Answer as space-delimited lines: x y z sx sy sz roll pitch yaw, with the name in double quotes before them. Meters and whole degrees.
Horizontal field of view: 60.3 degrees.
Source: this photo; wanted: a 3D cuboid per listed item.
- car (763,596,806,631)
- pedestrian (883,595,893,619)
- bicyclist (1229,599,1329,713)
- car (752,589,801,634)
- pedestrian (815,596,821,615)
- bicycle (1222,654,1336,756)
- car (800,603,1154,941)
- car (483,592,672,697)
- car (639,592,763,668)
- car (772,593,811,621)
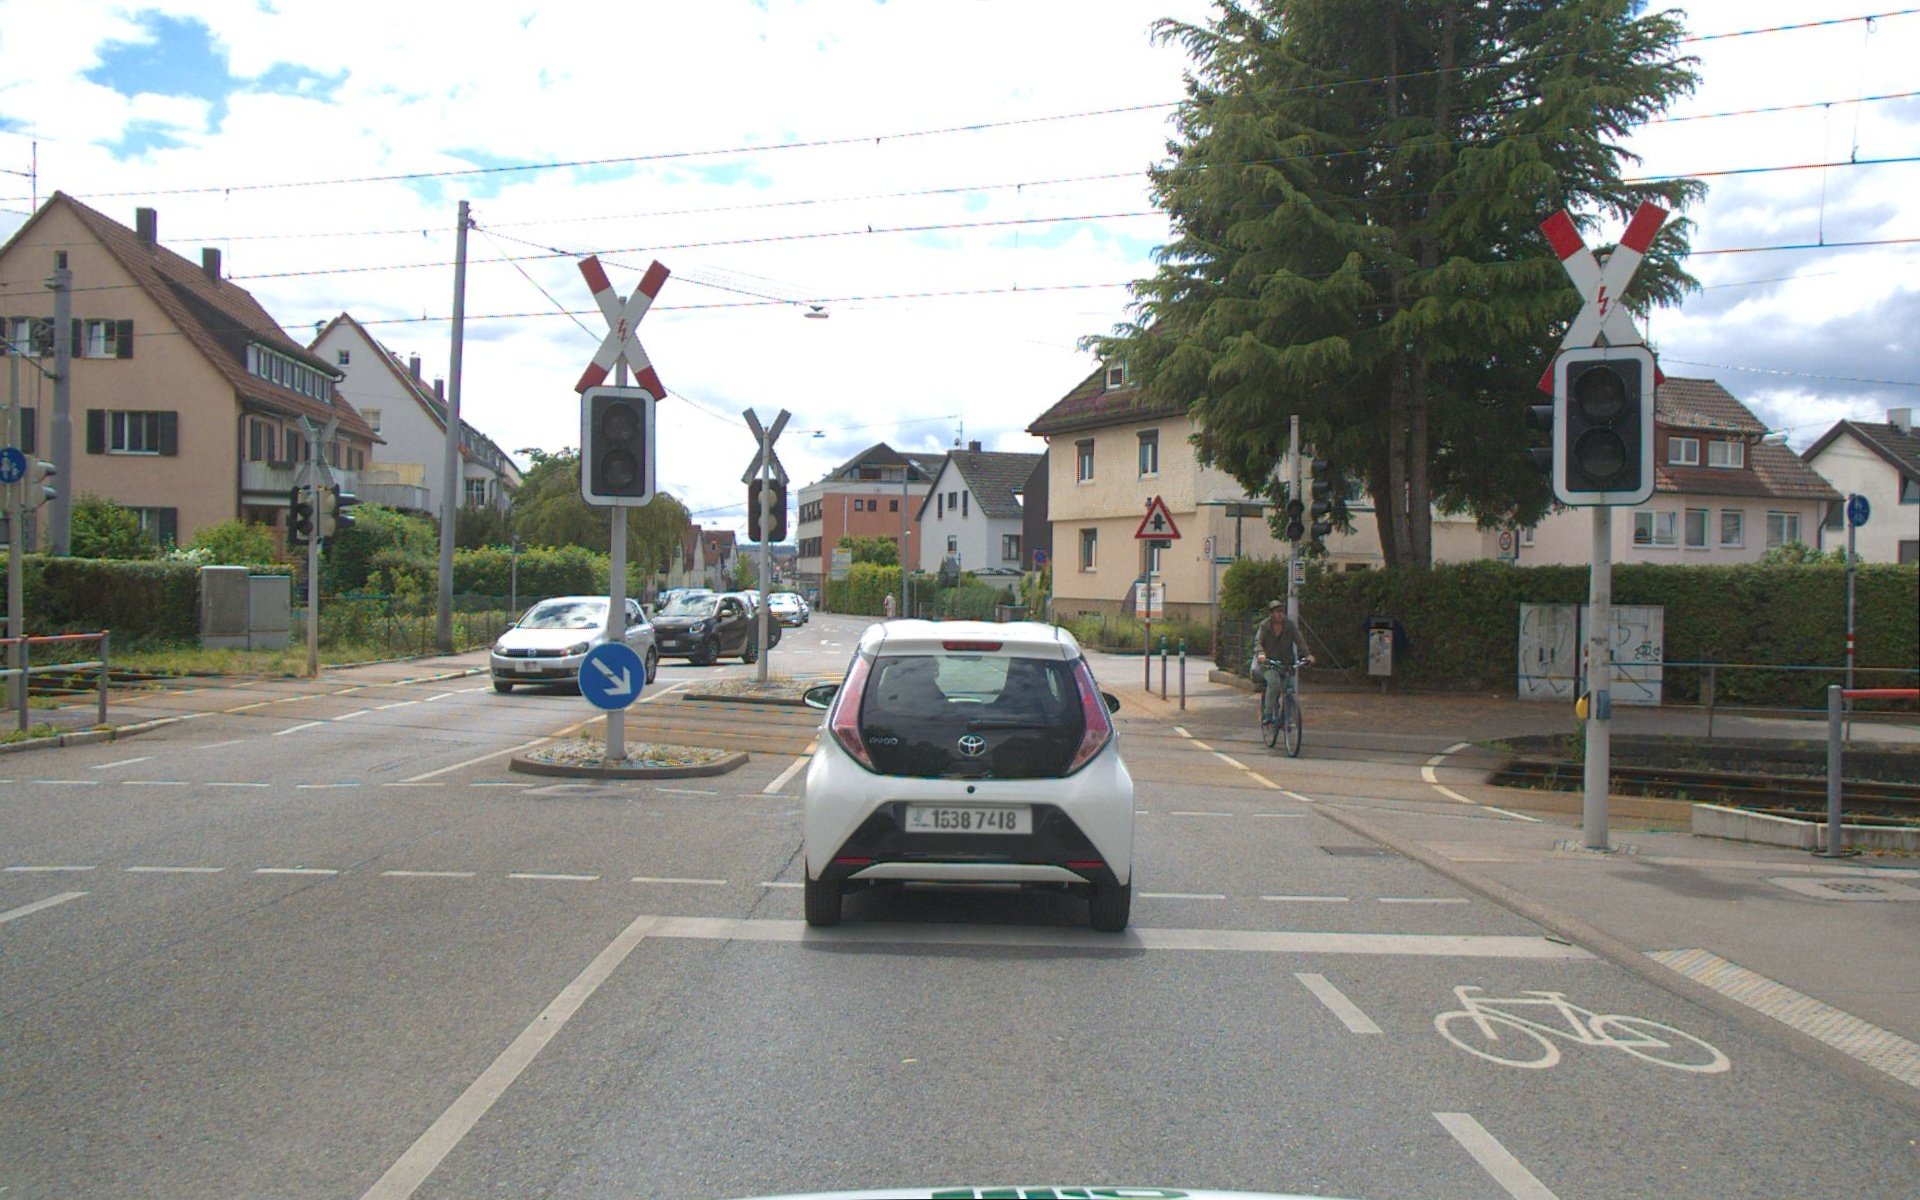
"car" -8.275 0.610 77.673 1.742 1.589 4.160 1 0 -9
"pedestrian" -4.380 0.445 101.177 0.433 1.463 0.409 1 0 -36
"bicyclist" 3.688 0.634 19.192 0.913 1.269 1.102 1 0 -1
"car" -6.950 0.409 62.679 1.741 1.631 4.164 1 0 -6
"pedestrian" -11.336 0.434 132.288 0.406 1.463 0.436 1 0 -11
"bicycle" 3.672 1.188 19.232 0.913 1.058 1.914 1 0 -1
"car" 0.058 0.798 9.452 1.588 1.512 3.999 0 -1 -1
"car" -6.110 0.658 26.875 1.652 1.483 4.073 1 1 8
"car" -5.646 0.657 36.303 1.542 1.536 2.789 2 0 18
"car" -9.229 0.377 90.353 1.743 1.455 4.510 1 0 -11
